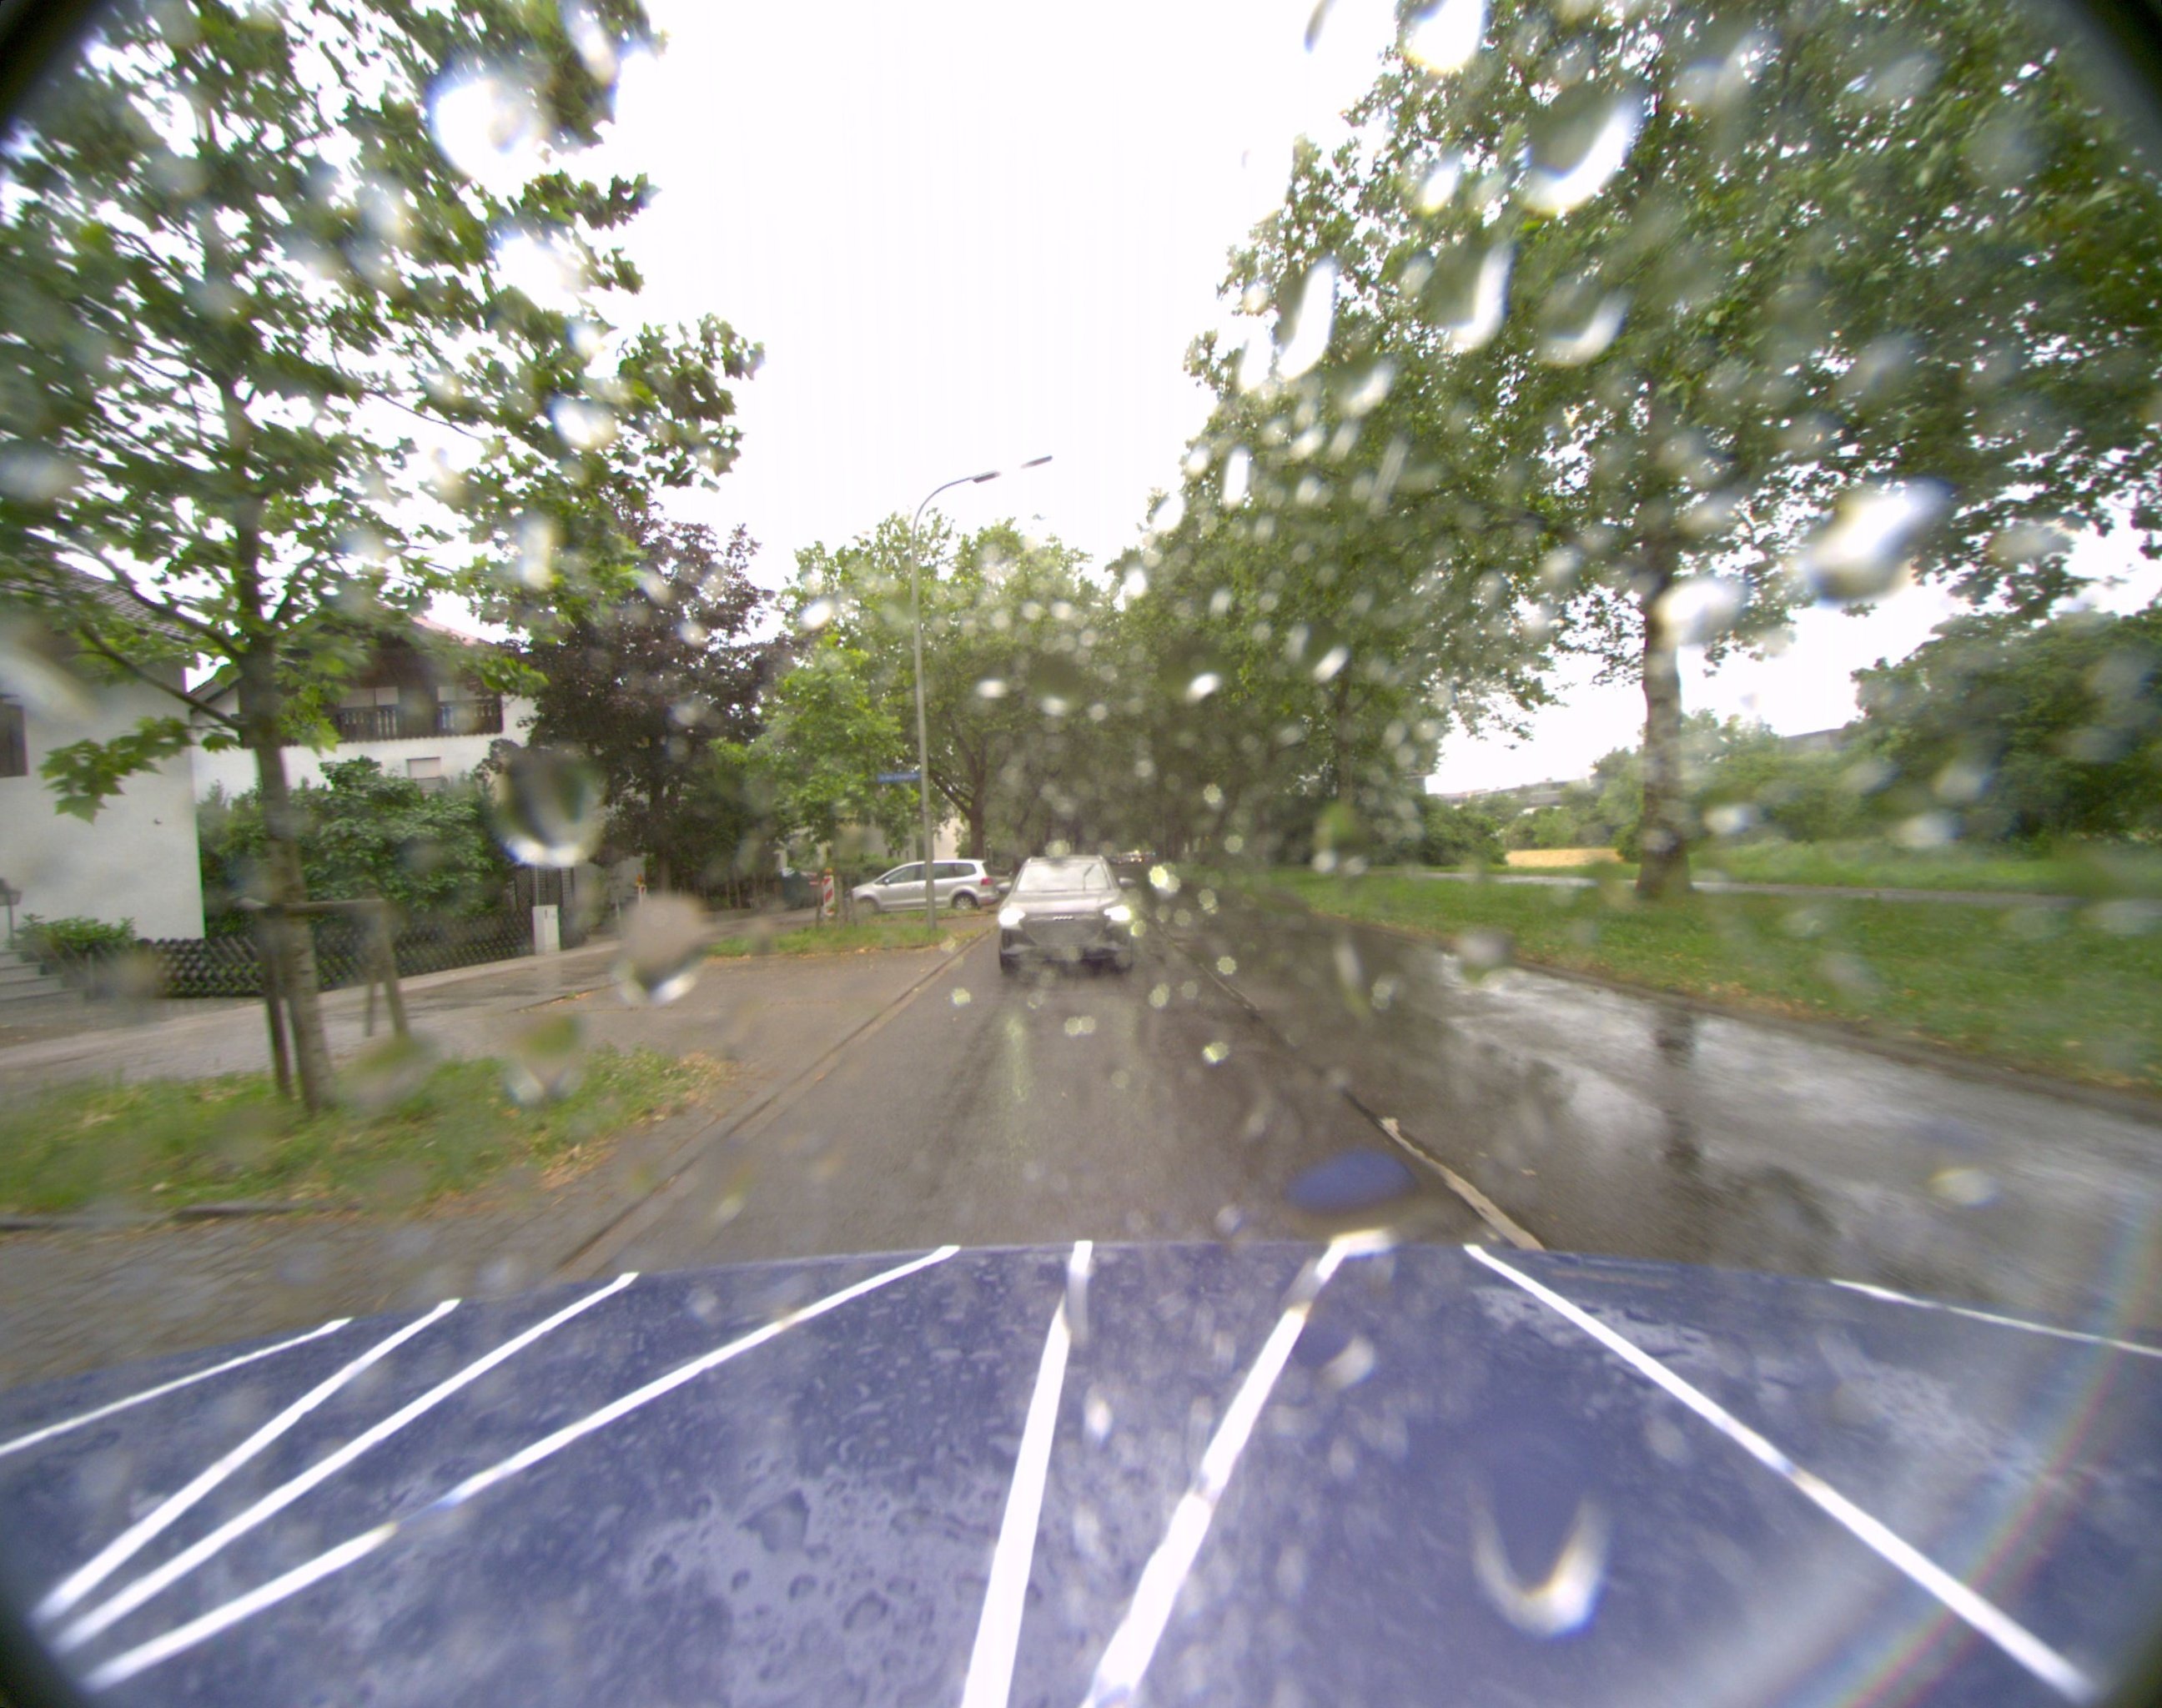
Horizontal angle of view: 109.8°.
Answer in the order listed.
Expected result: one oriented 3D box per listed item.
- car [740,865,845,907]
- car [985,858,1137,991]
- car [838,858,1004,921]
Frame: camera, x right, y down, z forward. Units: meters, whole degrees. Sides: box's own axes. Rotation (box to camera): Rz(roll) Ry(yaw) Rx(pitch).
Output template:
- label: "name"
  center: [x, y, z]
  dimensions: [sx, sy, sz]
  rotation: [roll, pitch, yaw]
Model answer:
- label: "car"
  center: [-12.697, 1.388, 33.597]
  dimensions: [3.853, 1.603, 1.843]
  rotation: [-3, 0, 2]
- label: "car"
  center: [-0.219, 0.919, 11.944]
  dimensions: [1.862, 1.608, 4.424]
  rotation: [-3, 0, 1]
- label: "car"
  center: [-4.852, 1.068, 23.578]
  dimensions: [4.701, 1.651, 1.976]
  rotation: [-3, 0, -1]
